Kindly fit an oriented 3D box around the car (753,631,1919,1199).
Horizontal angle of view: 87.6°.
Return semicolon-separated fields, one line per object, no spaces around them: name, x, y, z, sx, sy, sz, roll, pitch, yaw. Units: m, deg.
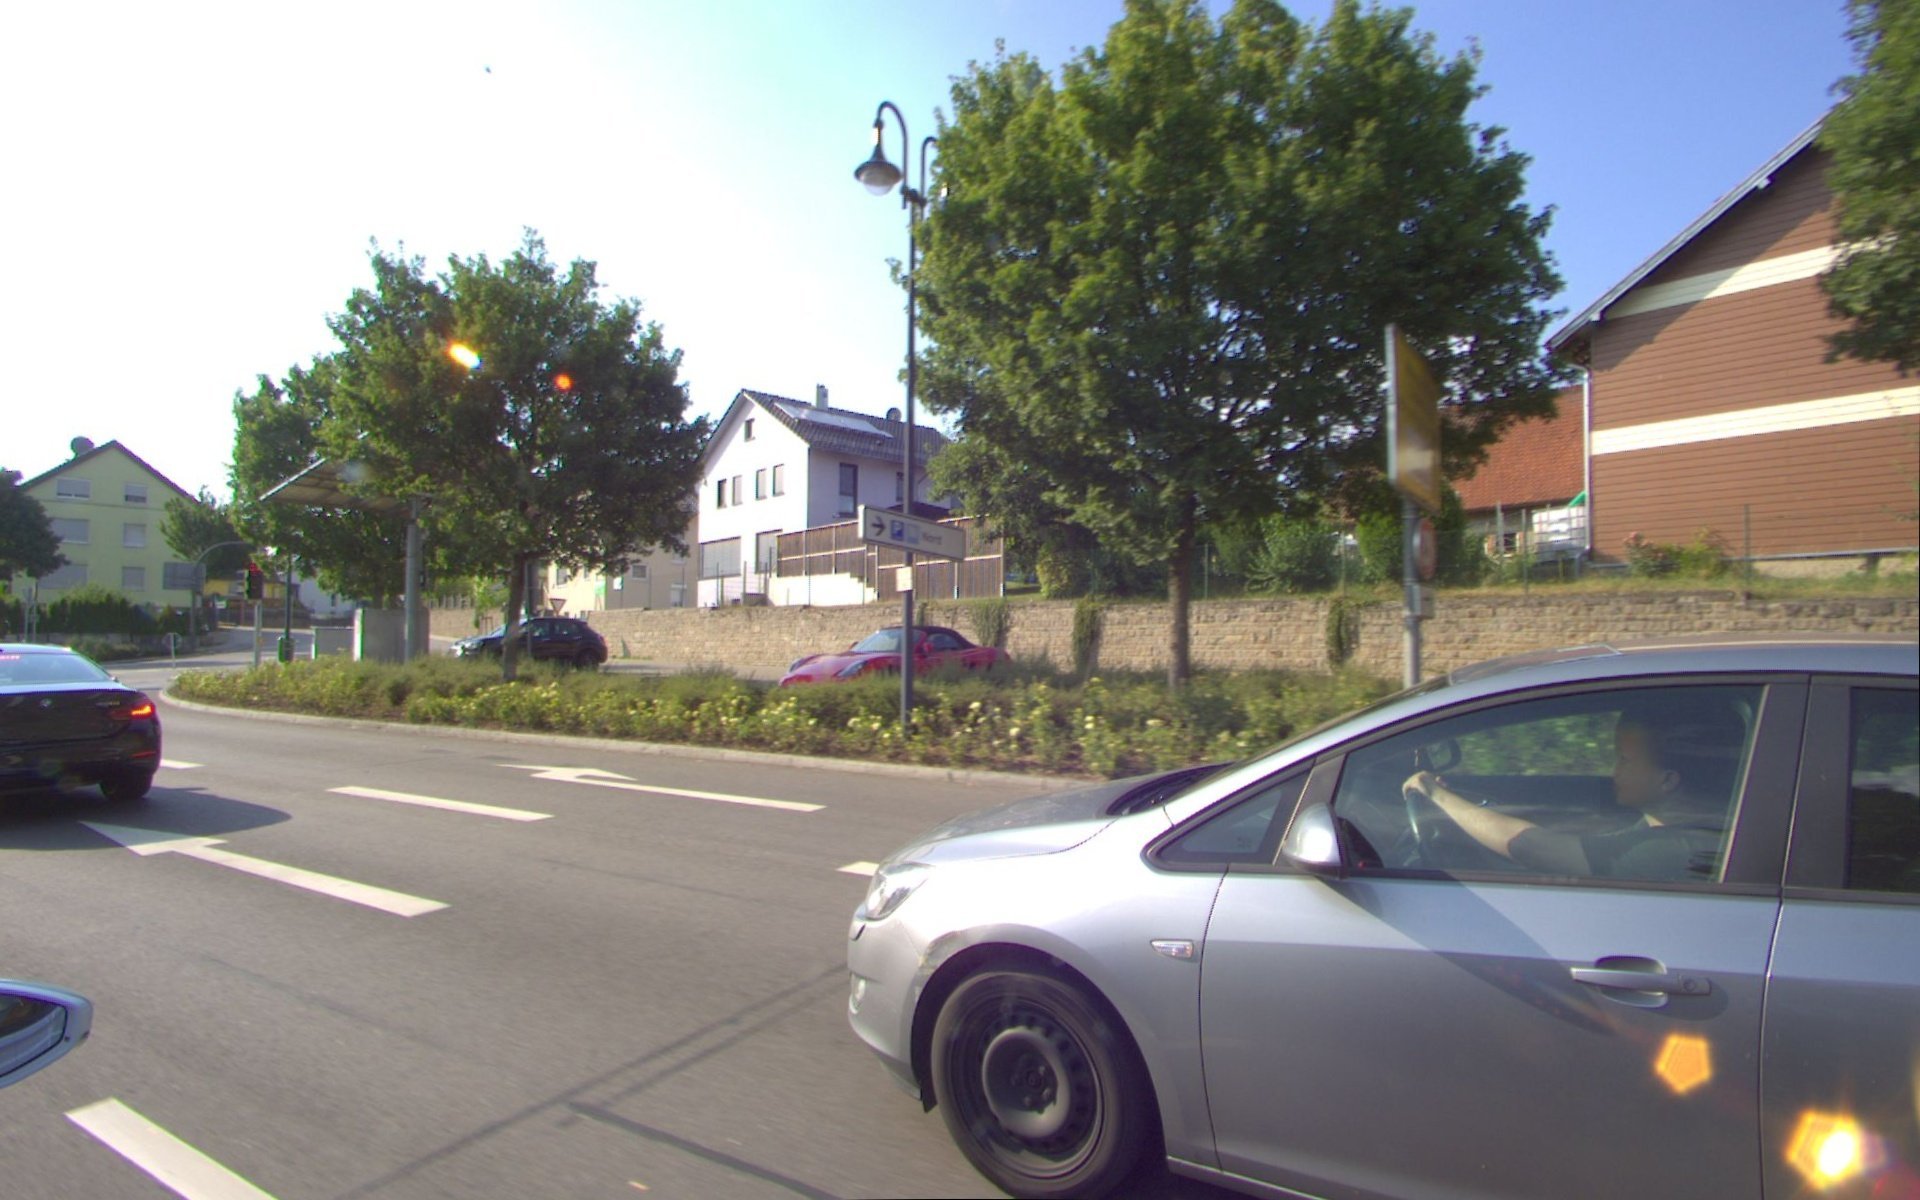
car;1.572;0.817;2.659;4.107;1.460;1.741;-1;-2;32

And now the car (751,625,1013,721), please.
car;-1.084;1.055;15.503;1.832;1.288;3.971;-1;-3;39

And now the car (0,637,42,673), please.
car;-37.741;2.082;37.859;1.623;1.404;4.180;-1;-2;23

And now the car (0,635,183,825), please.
car;-8.801;1.016;8.828;4.286;1.406;1.812;-1;-2;34

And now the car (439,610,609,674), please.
car;-12.082;1.160;27.879;1.835;1.628;3.964;-2;-3;44
